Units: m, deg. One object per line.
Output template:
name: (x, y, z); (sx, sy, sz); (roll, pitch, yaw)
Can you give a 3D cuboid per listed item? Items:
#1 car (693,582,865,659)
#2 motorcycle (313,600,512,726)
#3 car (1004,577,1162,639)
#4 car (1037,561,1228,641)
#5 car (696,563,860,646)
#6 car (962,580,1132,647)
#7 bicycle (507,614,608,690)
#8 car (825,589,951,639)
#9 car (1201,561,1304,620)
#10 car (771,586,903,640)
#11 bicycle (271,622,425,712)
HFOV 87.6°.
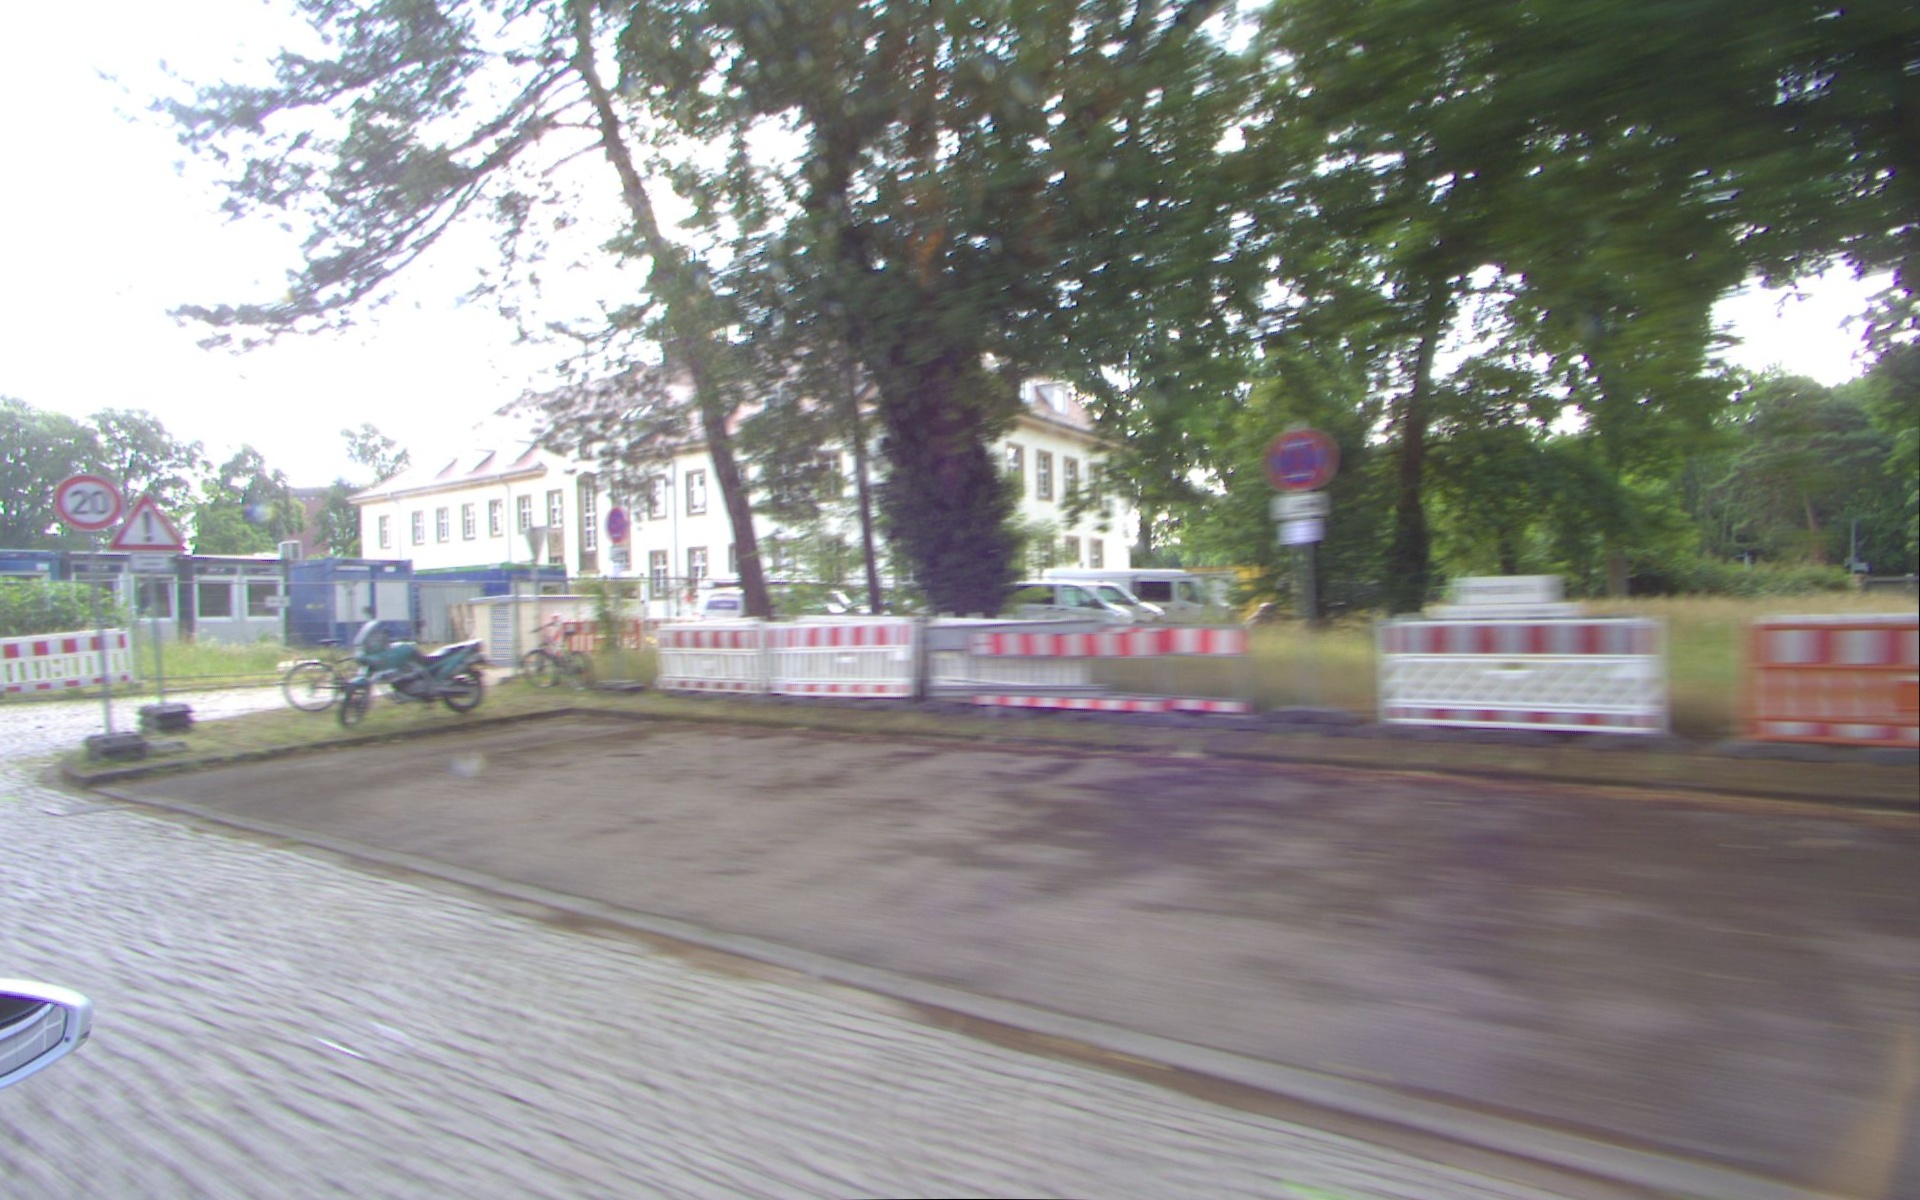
car: (-4.923, 0.507, 27.888); (1.880, 1.946, 4.845); (1, 1, 34)
motorcycle: (-7.218, 0.770, 13.354); (0.745, 1.505, 2.274); (-1, 1, 28)
car: (3.863, 0.293, 31.693); (4.780, 1.848, 2.000); (-1, -1, 7)
car: (5.837, 0.079, 34.538); (6.297, 2.611, 2.001); (-1, -1, 4)
car: (-6.237, 0.227, 33.857); (5.832, 2.589, 1.988); (-2, -2, 36)
car: (2.544, 0.412, 29.365); (4.780, 1.848, 2.000); (-1, -1, 7)
bicycle: (-6.727, 0.842, 16.696); (1.879, 1.185, 0.640); (-1, 1, 36)
car: (-2.883, 0.582, 39.406); (4.810, 1.848, 1.988); (-2, -2, 35)
car: (11.767, -0.289, 40.012); (2.182, 2.122, 6.127); (-1, -2, 34)
car: (-4.561, 0.514, 36.777); (4.811, 1.848, 1.987); (-2, -2, 36)
bicycle: (-9.087, 0.961, 14.914); (1.881, 1.213, 0.651); (-1, 1, -38)
